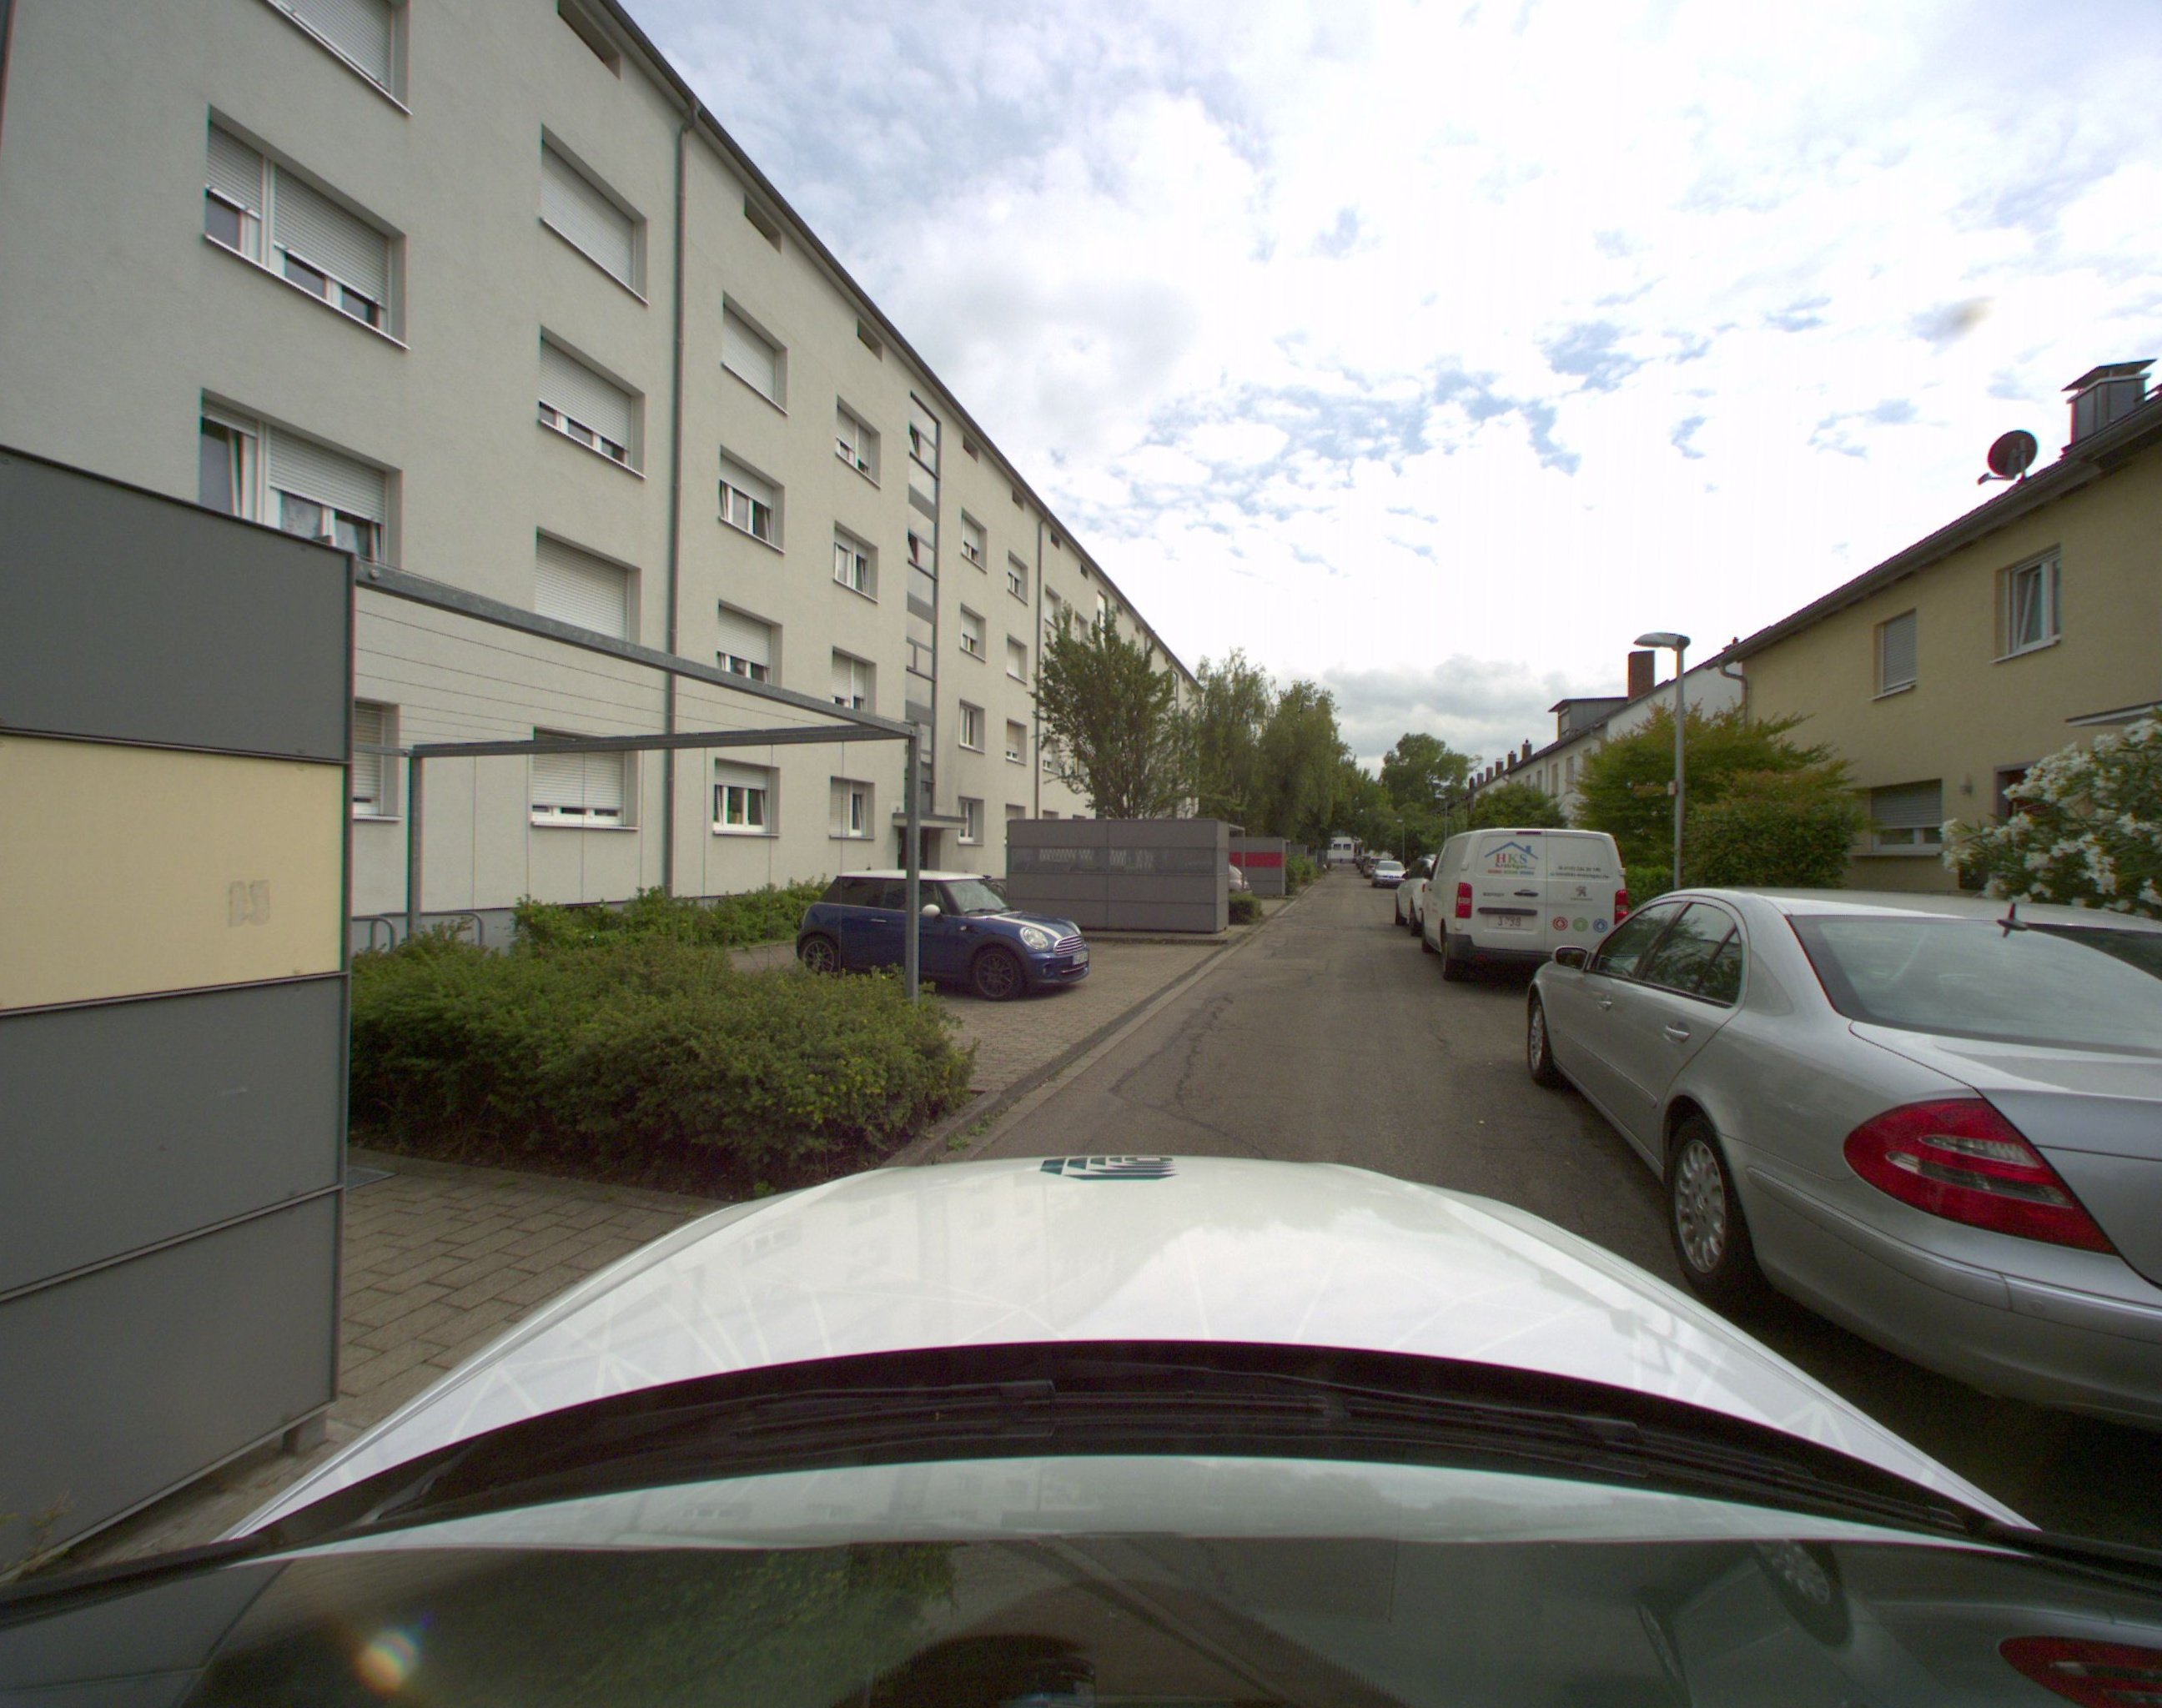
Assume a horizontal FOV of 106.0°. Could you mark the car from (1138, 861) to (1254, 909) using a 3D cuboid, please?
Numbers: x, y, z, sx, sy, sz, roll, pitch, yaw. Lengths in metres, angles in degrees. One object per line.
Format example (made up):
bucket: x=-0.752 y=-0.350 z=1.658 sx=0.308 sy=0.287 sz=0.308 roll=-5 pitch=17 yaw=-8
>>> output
car: x=3.746 y=0.980 z=26.338 sx=3.536 sy=1.480 sz=1.717 roll=-1 pitch=-1 yaw=14

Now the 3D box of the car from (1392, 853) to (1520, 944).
car: x=7.819 y=0.838 z=17.374 sx=1.811 sy=1.635 sz=4.179 roll=2 pitch=0 yaw=16

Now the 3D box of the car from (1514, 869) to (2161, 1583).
car: x=3.328 y=0.835 z=3.709 sx=1.769 sy=1.421 sz=4.477 roll=2 pitch=0 yaw=20

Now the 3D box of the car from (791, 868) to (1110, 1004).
car: x=-1.621 y=0.921 z=10.256 sx=3.603 sy=1.461 sz=1.661 roll=-1 pitch=-1 yaw=22

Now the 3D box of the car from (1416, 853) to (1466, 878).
car: x=23.858 y=0.742 z=54.070 sx=2.795 sy=1.569 sz=1.748 roll=-2 pitch=-1 yaw=16

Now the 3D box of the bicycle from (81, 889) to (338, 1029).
bicycle: x=-7.842 y=0.911 z=7.395 sx=1.539 sy=1.152 sz=0.478 roll=0 pitch=-1 yaw=-18

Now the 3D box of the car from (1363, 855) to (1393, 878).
car: x=22.204 y=0.927 z=61.019 sx=1.811 sy=1.581 sz=4.018 roll=2 pitch=1 yaw=17

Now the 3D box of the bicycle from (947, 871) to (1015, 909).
bicycle: x=-2.799 y=0.997 z=22.853 sx=1.812 sy=1.024 sz=0.476 roll=0 pitch=0 yaw=-23

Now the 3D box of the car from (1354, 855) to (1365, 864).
car: x=52.829 y=1.076 z=154.465 sx=1.810 sy=1.581 sz=4.019 roll=2 pitch=1 yaw=19

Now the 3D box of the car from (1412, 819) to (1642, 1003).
car: x=5.982 y=0.616 z=11.635 sx=1.888 sy=1.964 sz=5.277 roll=2 pitch=0 yaw=18

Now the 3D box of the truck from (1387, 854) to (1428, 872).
truck: x=38.556 y=1.044 z=96.277 sx=4.355 sy=2.014 sz=2.009 roll=-2 pitch=-1 yaw=18

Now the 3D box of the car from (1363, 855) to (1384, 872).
car: x=28.786 y=0.942 z=80.213 sx=1.810 sy=1.581 sz=4.213 roll=2 pitch=1 yaw=19

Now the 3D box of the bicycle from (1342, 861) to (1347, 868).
bicycle: x=46.399 y=1.801 z=143.208 sx=0.683 sy=1.131 sz=2.592 roll=2 pitch=0 yaw=21

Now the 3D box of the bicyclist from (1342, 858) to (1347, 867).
bicyclist: x=46.341 y=1.488 z=143.255 sx=0.792 sy=1.511 sz=0.938 roll=2 pitch=0 yaw=20

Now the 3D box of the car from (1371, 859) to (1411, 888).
car: x=16.407 y=1.013 z=43.267 sx=1.810 sy=1.370 sz=4.351 roll=2 pitch=1 yaw=19
